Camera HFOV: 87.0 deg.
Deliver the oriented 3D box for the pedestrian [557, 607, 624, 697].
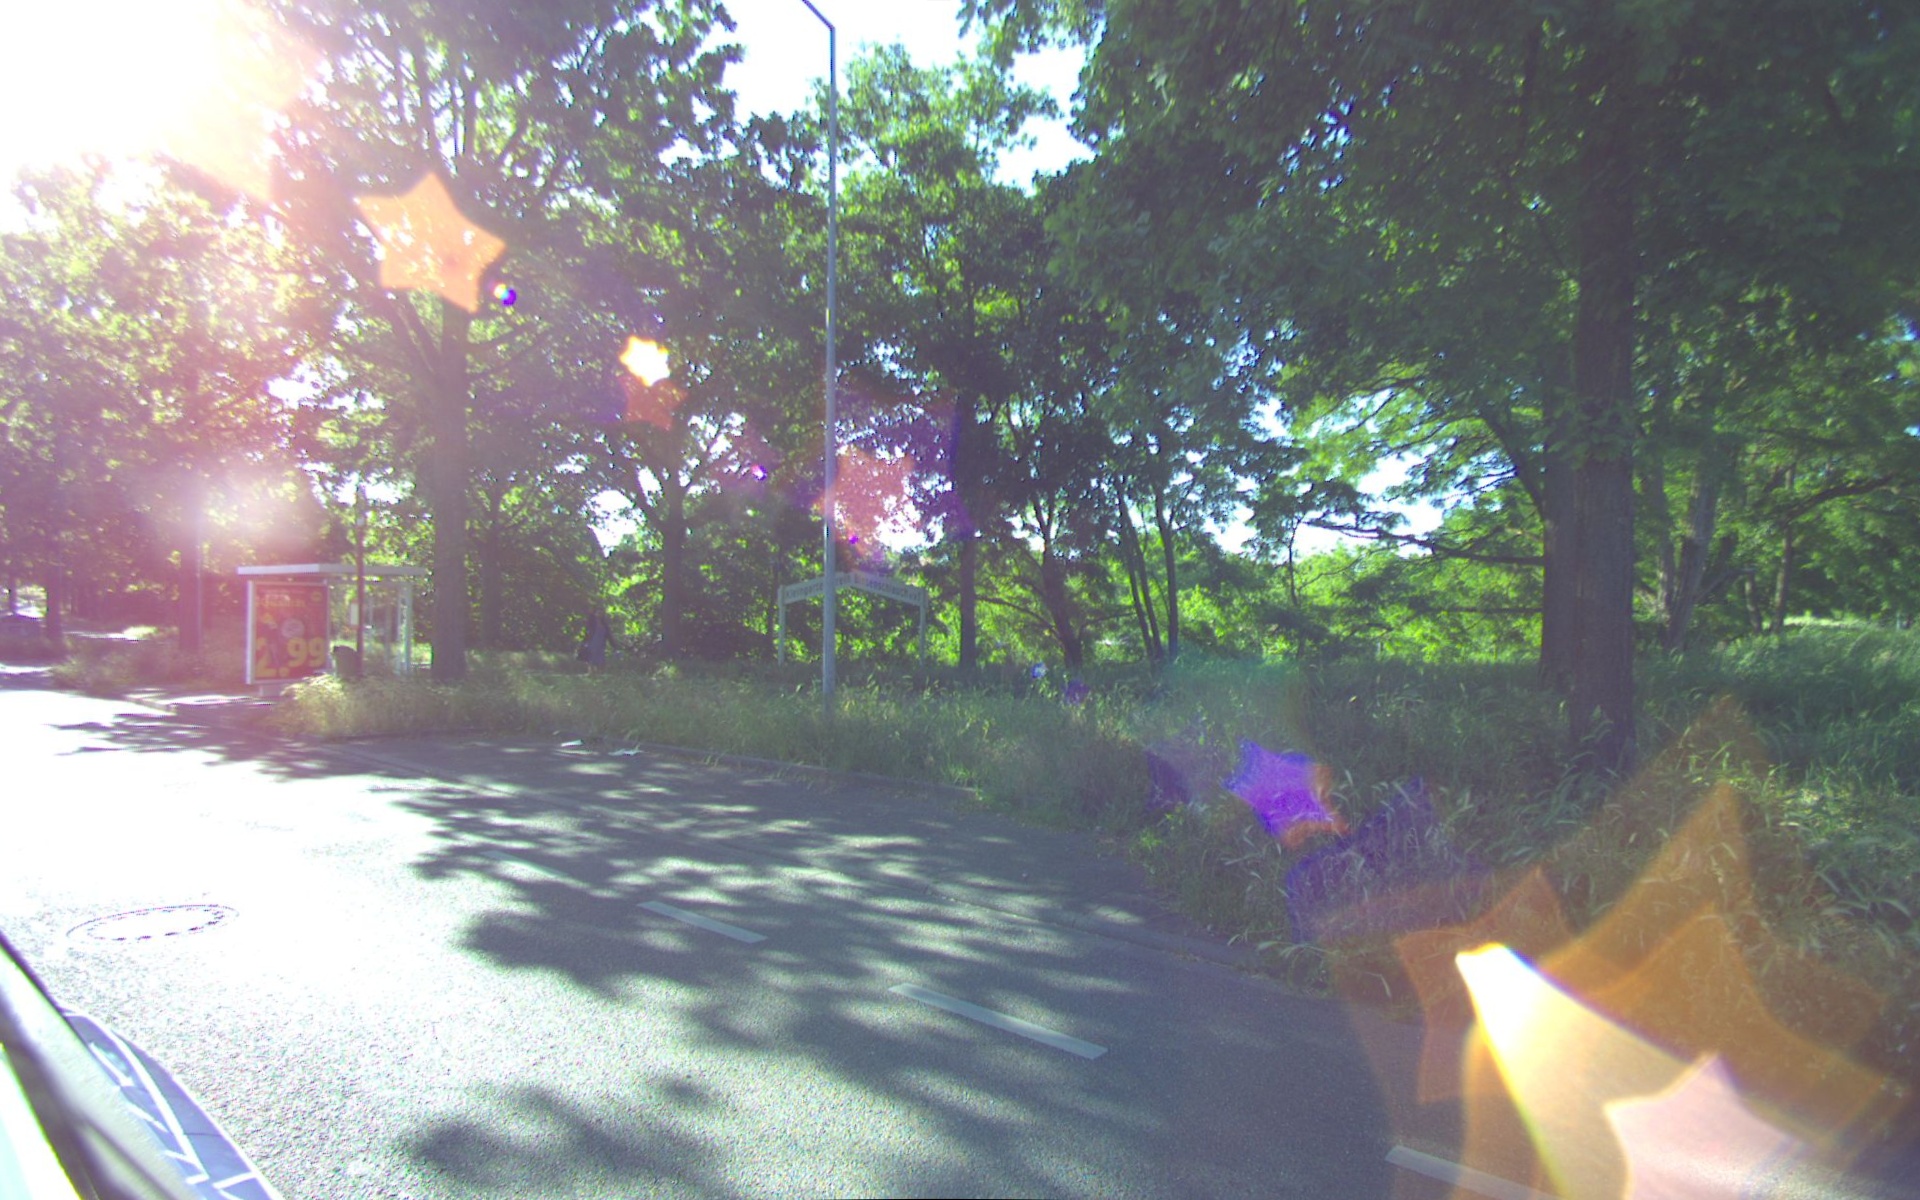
[{"bbox_3d":[-7.264,0.999,19.883,0.891,1.701,0.903,-2,-1,42],"label":"pedestrian"}]
